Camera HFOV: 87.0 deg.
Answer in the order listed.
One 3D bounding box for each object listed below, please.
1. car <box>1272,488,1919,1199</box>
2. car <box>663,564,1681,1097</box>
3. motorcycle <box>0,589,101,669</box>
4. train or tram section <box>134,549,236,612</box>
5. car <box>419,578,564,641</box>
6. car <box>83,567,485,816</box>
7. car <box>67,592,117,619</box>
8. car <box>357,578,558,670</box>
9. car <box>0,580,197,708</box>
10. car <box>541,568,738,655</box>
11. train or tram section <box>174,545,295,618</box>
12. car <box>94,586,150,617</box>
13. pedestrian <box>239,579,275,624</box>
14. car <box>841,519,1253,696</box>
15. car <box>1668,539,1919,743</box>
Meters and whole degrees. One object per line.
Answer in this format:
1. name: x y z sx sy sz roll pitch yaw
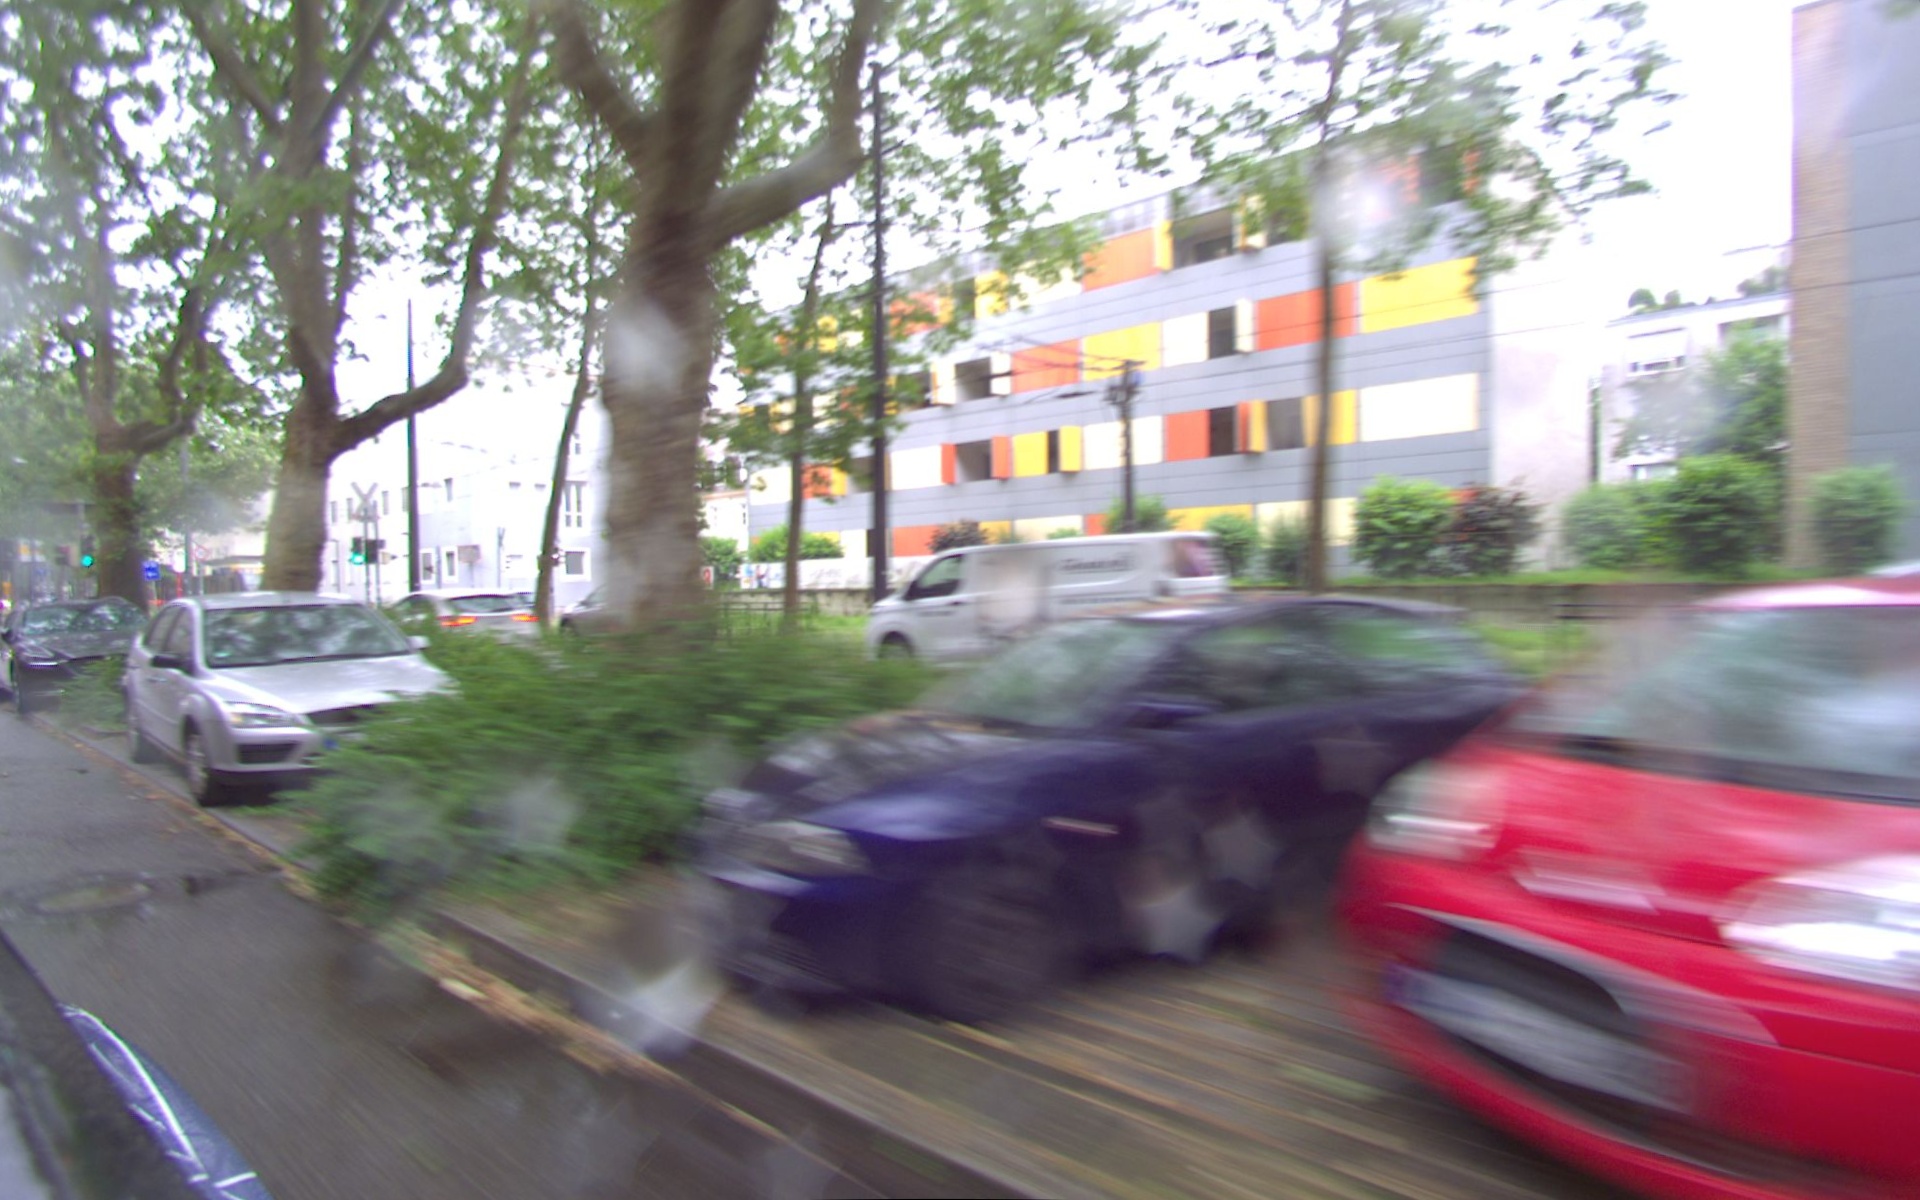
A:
1. car: 2.840 0.518 2.743 3.442 1.447 1.787 -1 1 -21
2. car: 0.905 0.580 4.353 3.976 1.445 1.787 -1 1 -24
3. motorcycle: -18.619 0.574 20.229 2.077 1.511 0.773 -1 3 -5
4. train or tram section: -48.818 -1.284 63.594 11.549 3.669 2.869 1 3 42
5. car: -12.369 0.198 26.605 4.388 1.474 1.884 1 3 43
6. car: -5.769 0.540 8.422 4.206 1.525 1.711 1 3 41
7. car: -52.461 0.299 61.158 3.703 1.394 1.656 1 6 41
8. car: -9.213 0.342 18.446 3.997 1.430 1.815 1 3 40
9. car: -12.809 0.509 14.653 4.619 1.496 1.877 1 3 41
10. car: -6.780 0.173 21.174 4.466 1.612 1.884 1 3 42
11. train or tram section: -40.250 -1.076 55.919 11.549 3.669 2.869 1 3 42
12. car: -46.272 0.046 55.836 3.972 1.519 1.656 1 6 41
13. pedestrian: -29.325 0.063 42.214 1.205 1.813 0.926 1 3 41
14. car: 1.040 0.007 14.002 5.427 2.012 2.035 0 4 38
15. car: 8.258 0.279 8.024 4.212 1.545 1.885 0 2 40
